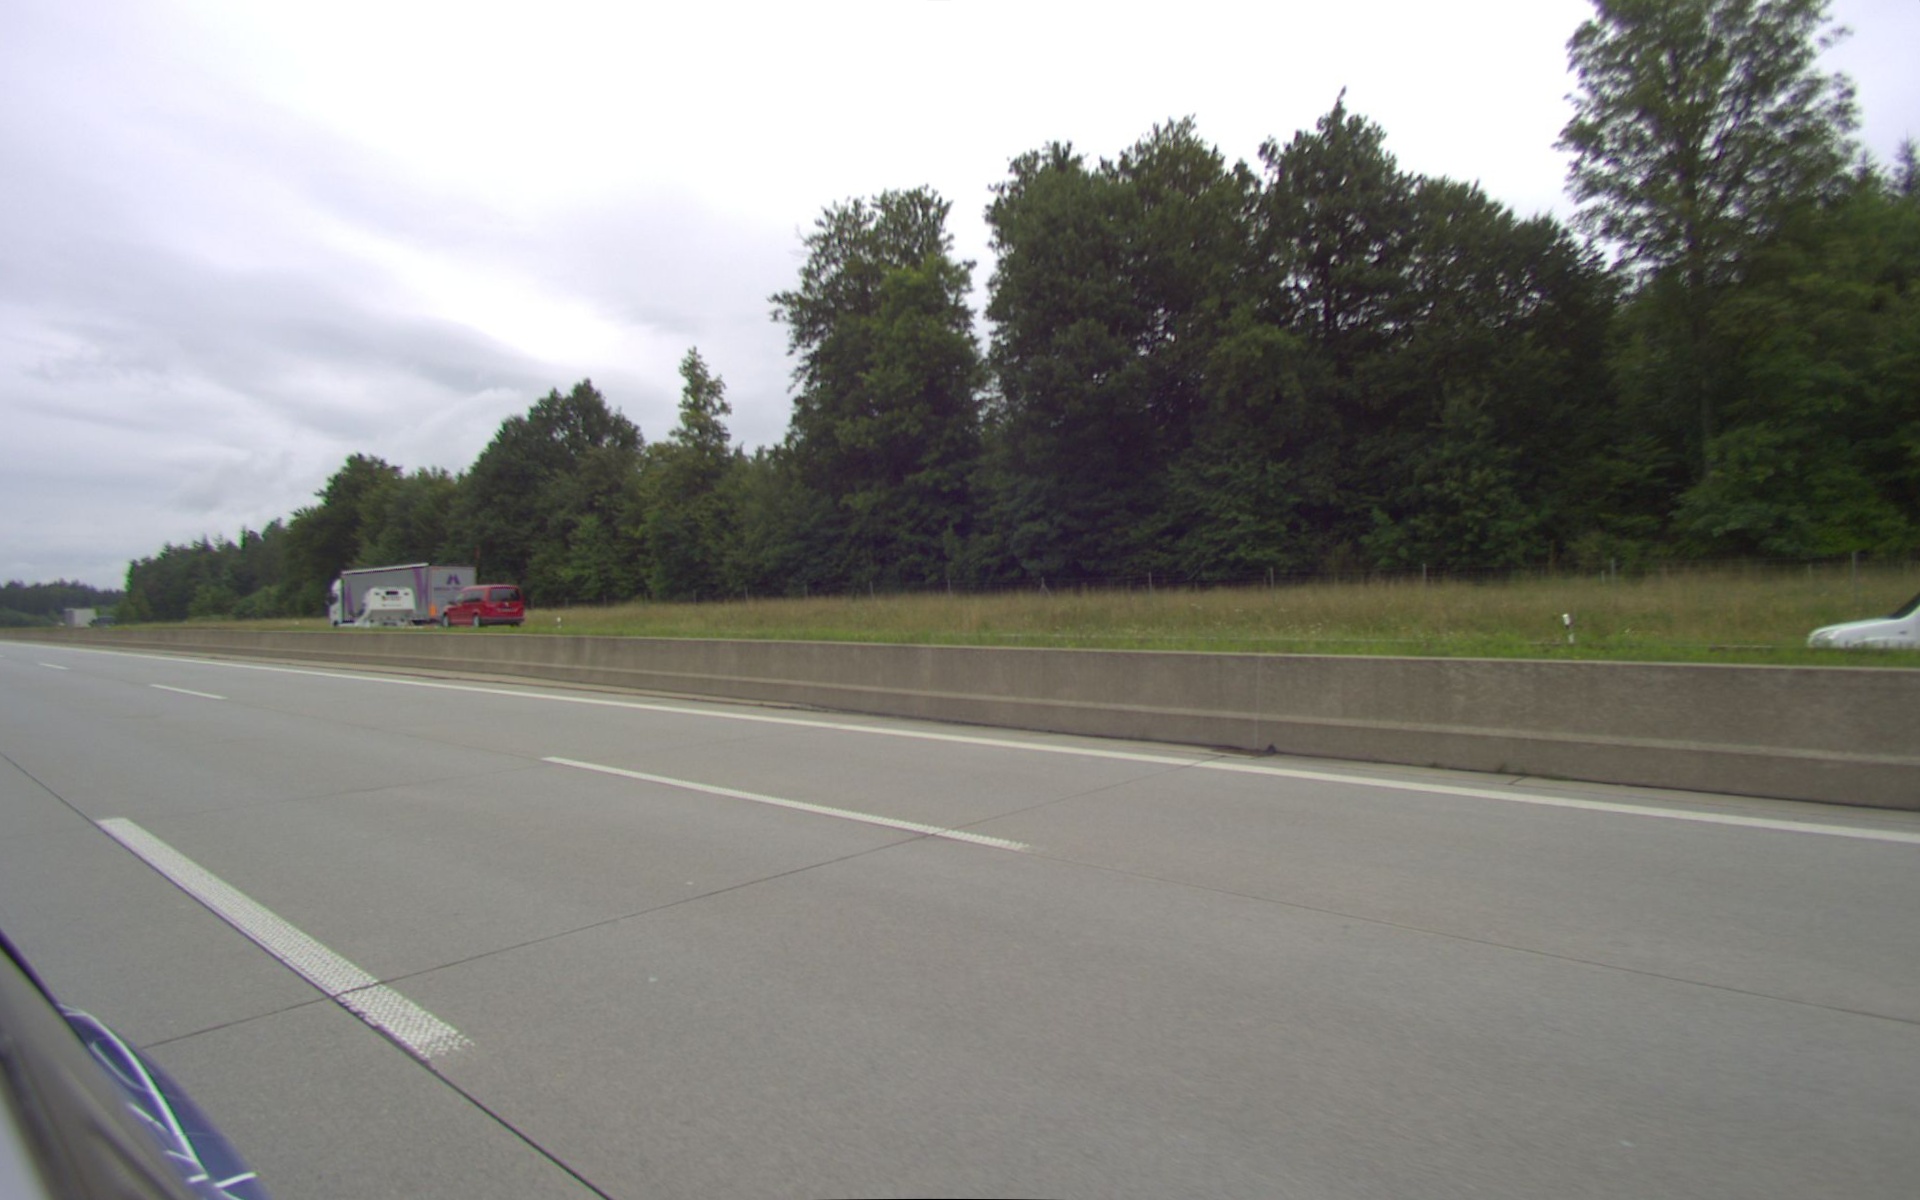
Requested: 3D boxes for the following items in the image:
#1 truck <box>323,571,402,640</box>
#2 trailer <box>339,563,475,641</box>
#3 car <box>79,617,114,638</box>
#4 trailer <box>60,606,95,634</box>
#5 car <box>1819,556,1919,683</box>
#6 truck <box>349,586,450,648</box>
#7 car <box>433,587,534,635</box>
[{"bbox_3d":[-37.854,0.377,64.015,6.459,4.157,2.482,-1,-1,42],"label":"truck"},{"bbox_3d":[-32.656,0.236,59.316,13.971,4.134,2.471,-1,0,42],"label":"trailer"},{"bbox_3d":[-88.548,2.791,103.787,5.426,2.029,2.040,-1,0,42],"label":"car"},{"bbox_3d":[-136.730,3.116,156.702,13.989,4.050,2.780,-2,-1,43],"label":"trailer"},{"bbox_3d":[13.776,0.212,12.678,4.558,1.611,1.762,-1,0,41],"label":"car"},{"bbox_3d":[-27.198,0.811,48.990,6.510,2.809,2.243,-1,0,42],"label":"truck"},{"bbox_3d":[-20.024,0.443,42.413,5.313,1.896,1.972,-1,0,43],"label":"car"}]
